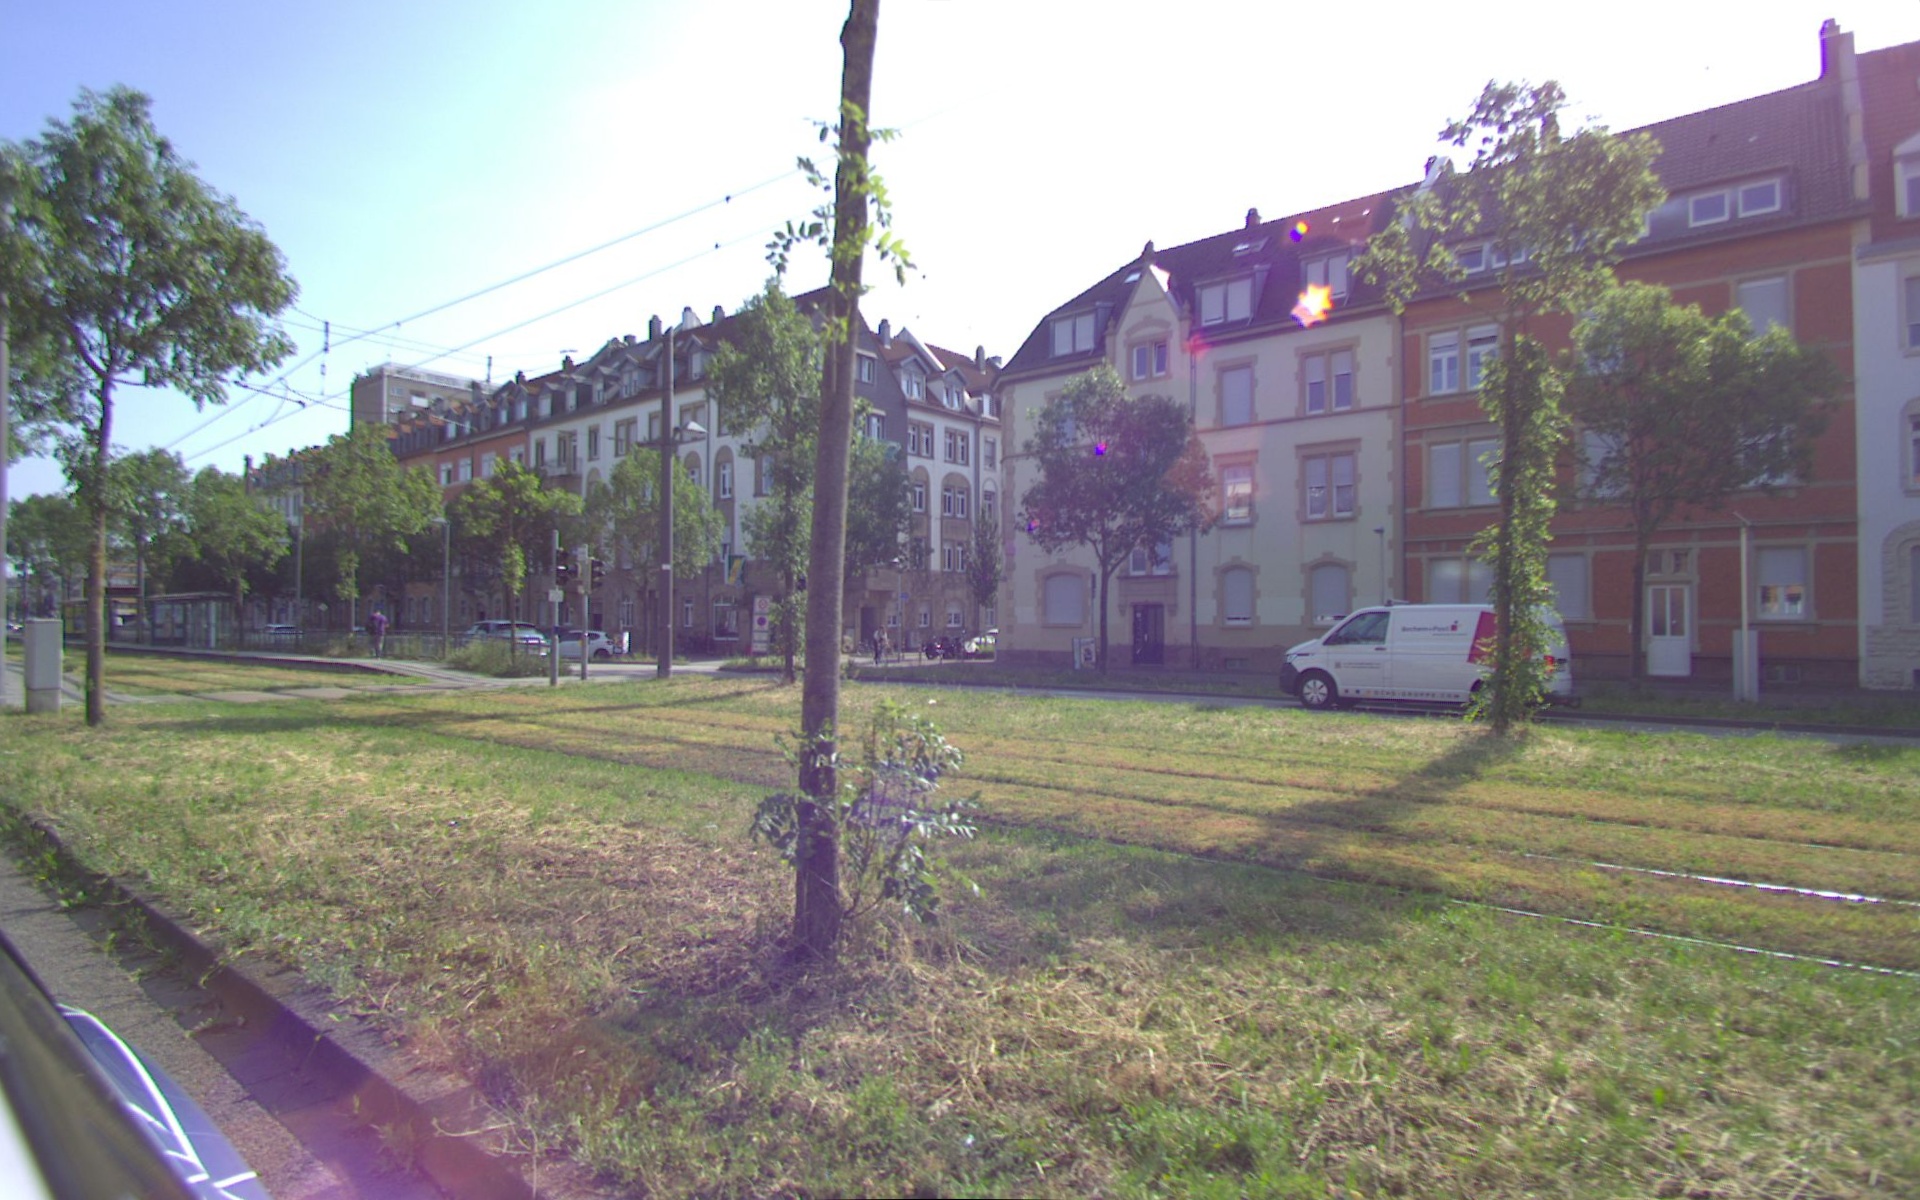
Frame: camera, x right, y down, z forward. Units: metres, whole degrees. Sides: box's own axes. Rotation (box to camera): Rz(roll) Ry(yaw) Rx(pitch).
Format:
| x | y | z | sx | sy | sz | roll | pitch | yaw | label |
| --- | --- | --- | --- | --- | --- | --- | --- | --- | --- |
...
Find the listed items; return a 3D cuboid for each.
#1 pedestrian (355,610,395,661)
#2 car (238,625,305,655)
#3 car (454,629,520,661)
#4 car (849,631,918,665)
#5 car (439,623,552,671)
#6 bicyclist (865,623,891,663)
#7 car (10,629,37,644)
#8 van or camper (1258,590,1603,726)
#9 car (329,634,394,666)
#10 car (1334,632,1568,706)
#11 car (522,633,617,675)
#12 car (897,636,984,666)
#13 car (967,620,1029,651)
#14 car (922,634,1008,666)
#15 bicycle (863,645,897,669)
| x | y | z | sx | sy | sz | roll | pitch | yaw | label |
| --- | --- | --- | --- | --- | --- | --- | --- | --- | --- |
| -19.540 | 1.189 | 33.808 | 0.850 | 1.667 | 0.876 | -1 | -2 | 35 | pedestrian |
| -36.181 | 2.096 | 53.170 | 4.421 | 1.451 | 1.753 | -1 | -3 | 40 | car |
| -26.814 | 2.502 | 57.315 | 3.997 | 1.632 | 1.883 | -1 | 1 | 40 | car |
| -4.200 | 2.625 | 55.832 | 1.603 | 1.595 | 3.775 | -1 | 1 | 41 | car |
| -16.242 | 1.604 | 35.323 | 4.573 | 1.544 | 1.816 | -1 | -1 | 40 | car |
| -3.377 | 1.752 | 41.796 | 0.834 | 1.570 | 0.905 | -1 | 0 | -20 | bicyclist |
| -121.241 | 4.697 | 131.024 | 1.673 | 1.811 | 4.012 | -1 | 1 | -31 | car |
| 8.308 | 0.973 | 18.229 | 5.348 | 2.113 | 1.932 | -1 | -3 | 40 | van or camper |
| -31.091 | 2.561 | 52.521 | 3.997 | 1.526 | 1.651 | -1 | -2 | 40 | car |
| 11.094 | 1.506 | 22.913 | 4.695 | 1.496 | 2.029 | 1 | 0 | -19 | car |
| -18.182 | 2.494 | 47.295 | 3.932 | 1.739 | 2.006 | -1 | 0 | -15 | car |
| -0.955 | 2.356 | 47.491 | 3.997 | 1.309 | 1.651 | -1 | -2 | 40 | car |
| 2.396 | 2.201 | 63.111 | 1.727 | 1.707 | 3.946 | -1 | 1 | 41 | car |
| 0.215 | 2.383 | 48.901 | 3.997 | 1.423 | 1.651 | -1 | -2 | 40 | car |
| -3.320 | 2.343 | 41.854 | 0.843 | 0.872 | 2.026 | -1 | 0 | -22 | bicycle |
